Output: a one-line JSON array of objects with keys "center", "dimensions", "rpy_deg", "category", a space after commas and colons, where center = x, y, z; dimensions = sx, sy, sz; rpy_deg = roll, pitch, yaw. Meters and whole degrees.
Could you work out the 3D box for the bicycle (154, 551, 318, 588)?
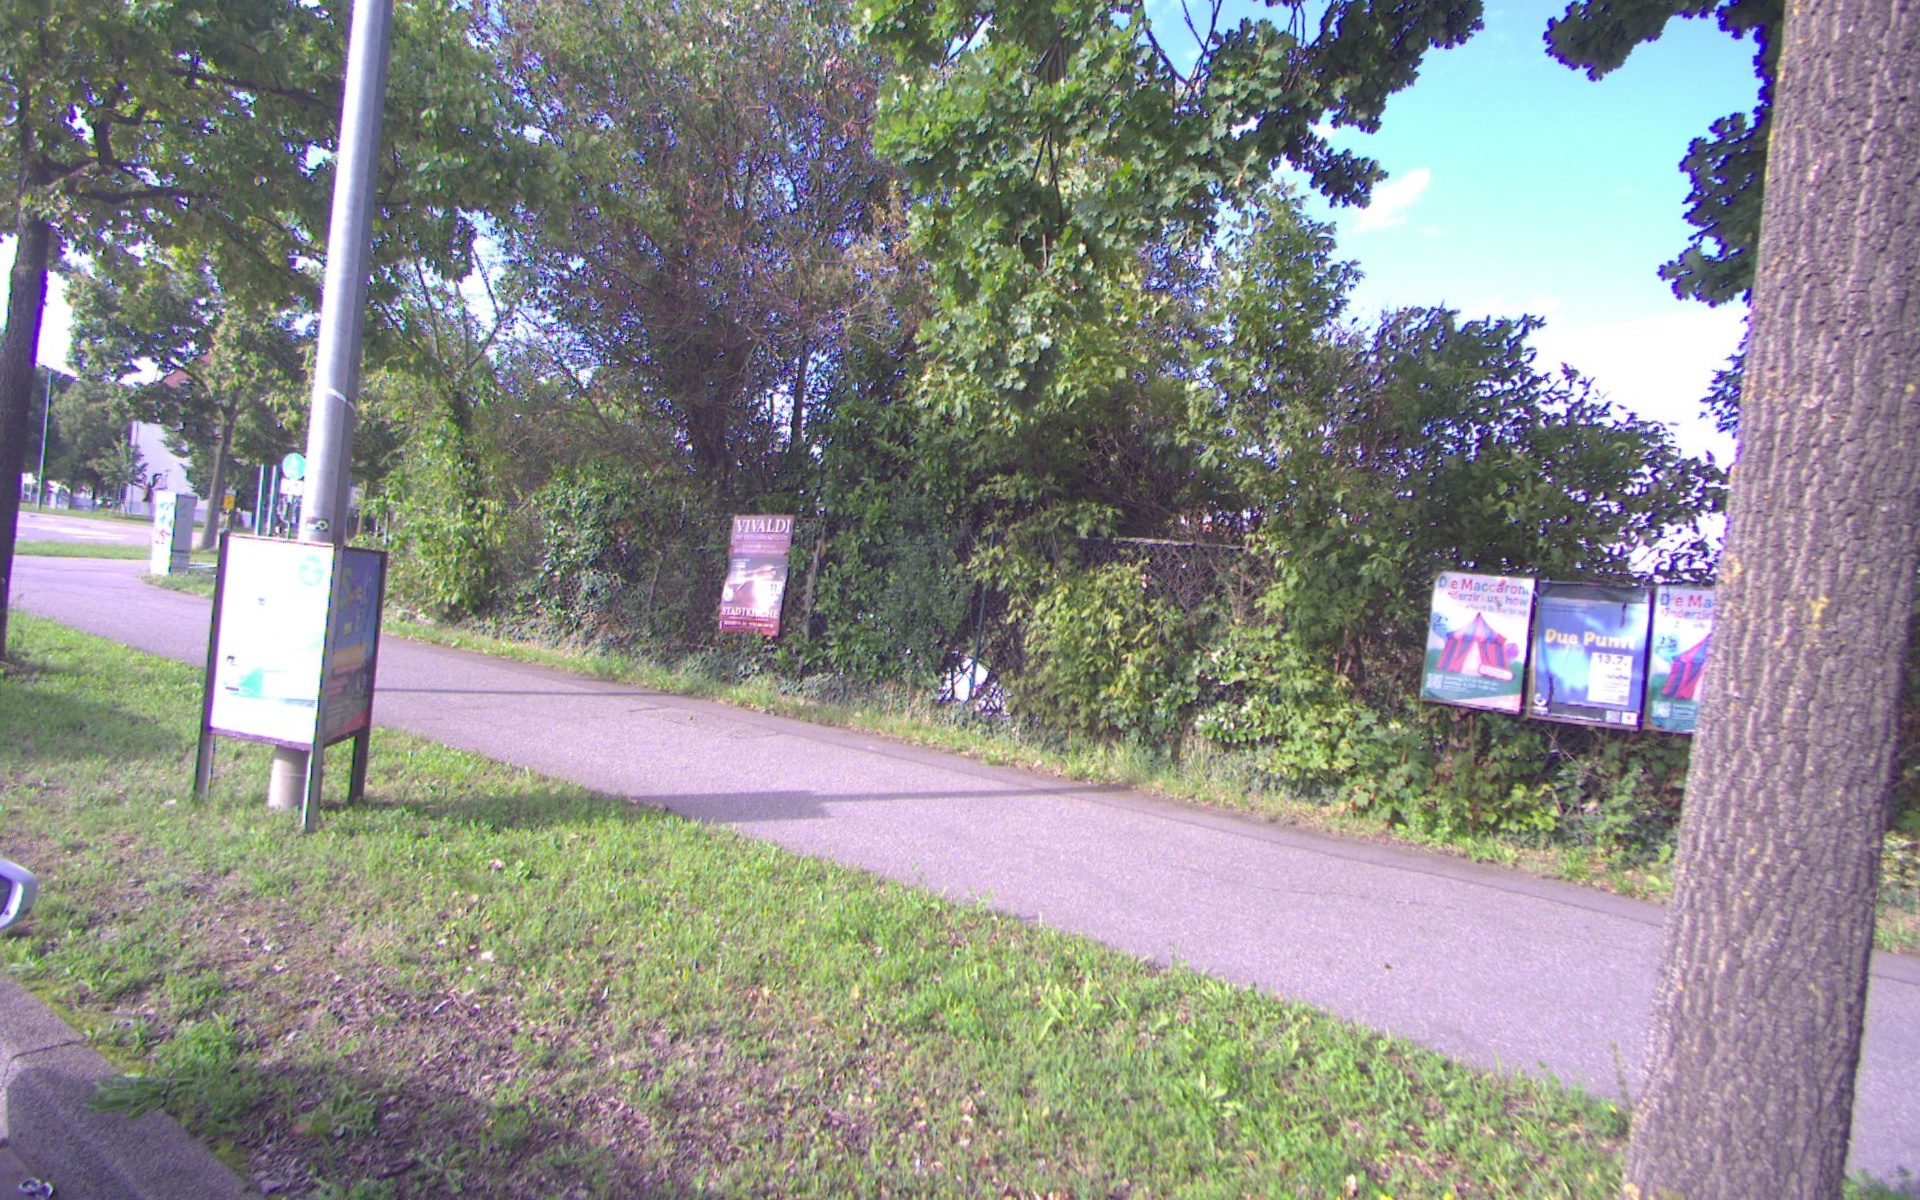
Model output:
[{"center": [-14.093, -0.593, 19.607], "dimensions": [2.529, 0.390, 1.411], "rpy_deg": [7, 0, 21], "category": "bicycle"}]
